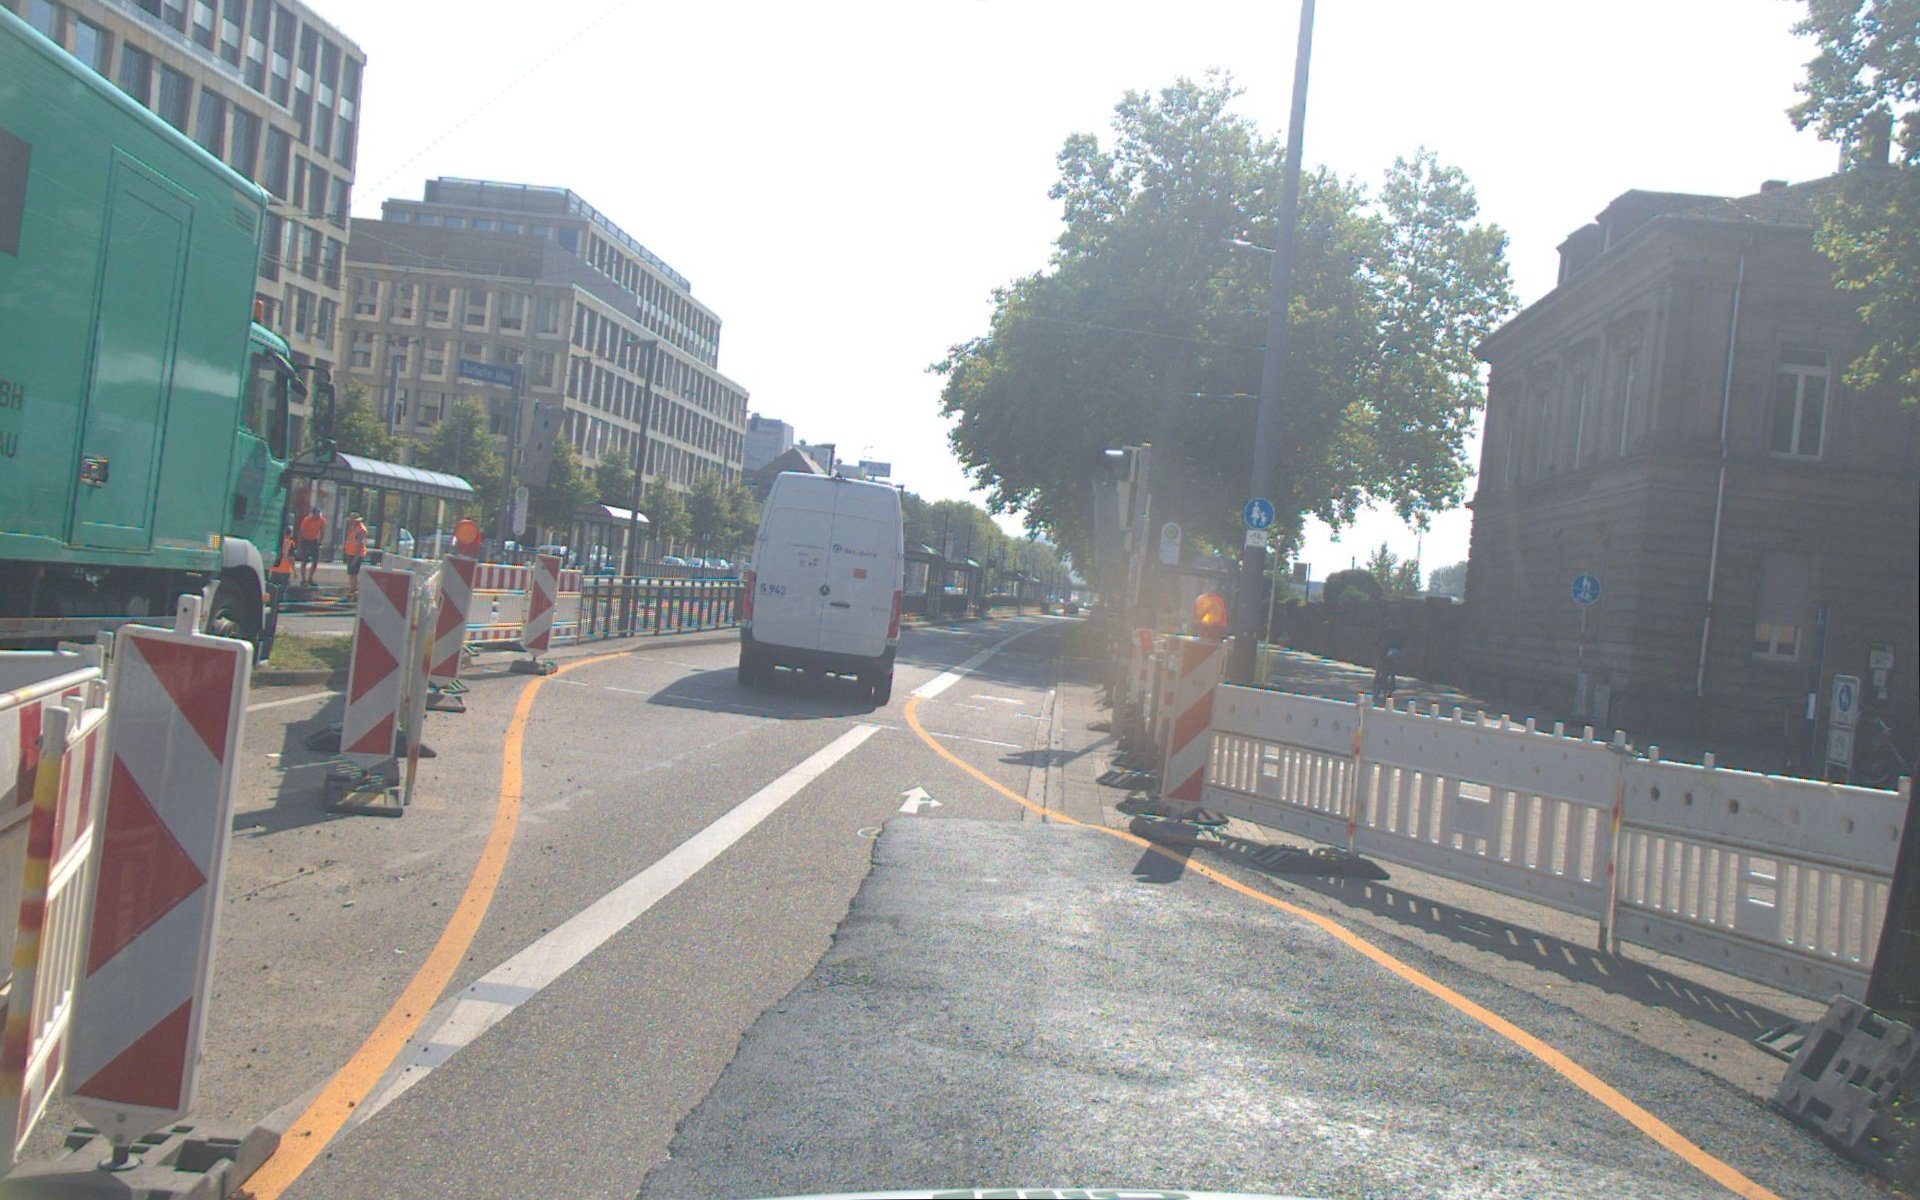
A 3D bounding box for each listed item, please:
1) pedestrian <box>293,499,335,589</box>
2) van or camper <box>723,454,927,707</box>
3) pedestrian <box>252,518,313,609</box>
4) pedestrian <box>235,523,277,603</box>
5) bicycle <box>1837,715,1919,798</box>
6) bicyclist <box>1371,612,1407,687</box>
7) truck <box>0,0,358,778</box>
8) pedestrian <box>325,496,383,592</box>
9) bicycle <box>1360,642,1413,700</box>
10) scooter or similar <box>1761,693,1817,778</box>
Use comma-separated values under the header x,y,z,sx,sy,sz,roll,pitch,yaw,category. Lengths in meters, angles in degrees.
x,y,z,sx,sy,sz,roll,pitch,yaw,category
-13.812,-1.193,35.362,0.617,1.846,0.635,5,0,-27,pedestrian
-1.715,-0.264,22.220,2.075,2.726,5.248,8,0,-3,van or camper
-13.431,-0.723,32.787,0.656,1.691,0.768,6,1,38,pedestrian
-14.614,-0.781,34.337,0.630,1.580,0.622,6,0,-22,pedestrian
14.658,2.458,25.862,0.483,1.016,1.812,6,3,-14,bicycle
9.328,1.076,35.994,0.460,1.565,0.596,6,0,-3,bicyclist
-5.904,-1.322,8.854,2.741,3.977,8.407,8,1,-7,truck
-13.049,-1.190,35.633,0.708,1.984,0.788,6,0,7,pedestrian
9.276,1.529,36.044,0.481,1.107,1.856,6,1,-3,bicycle
13.429,2.176,26.812,0.416,1.249,1.174,6,0,12,scooter or similar
